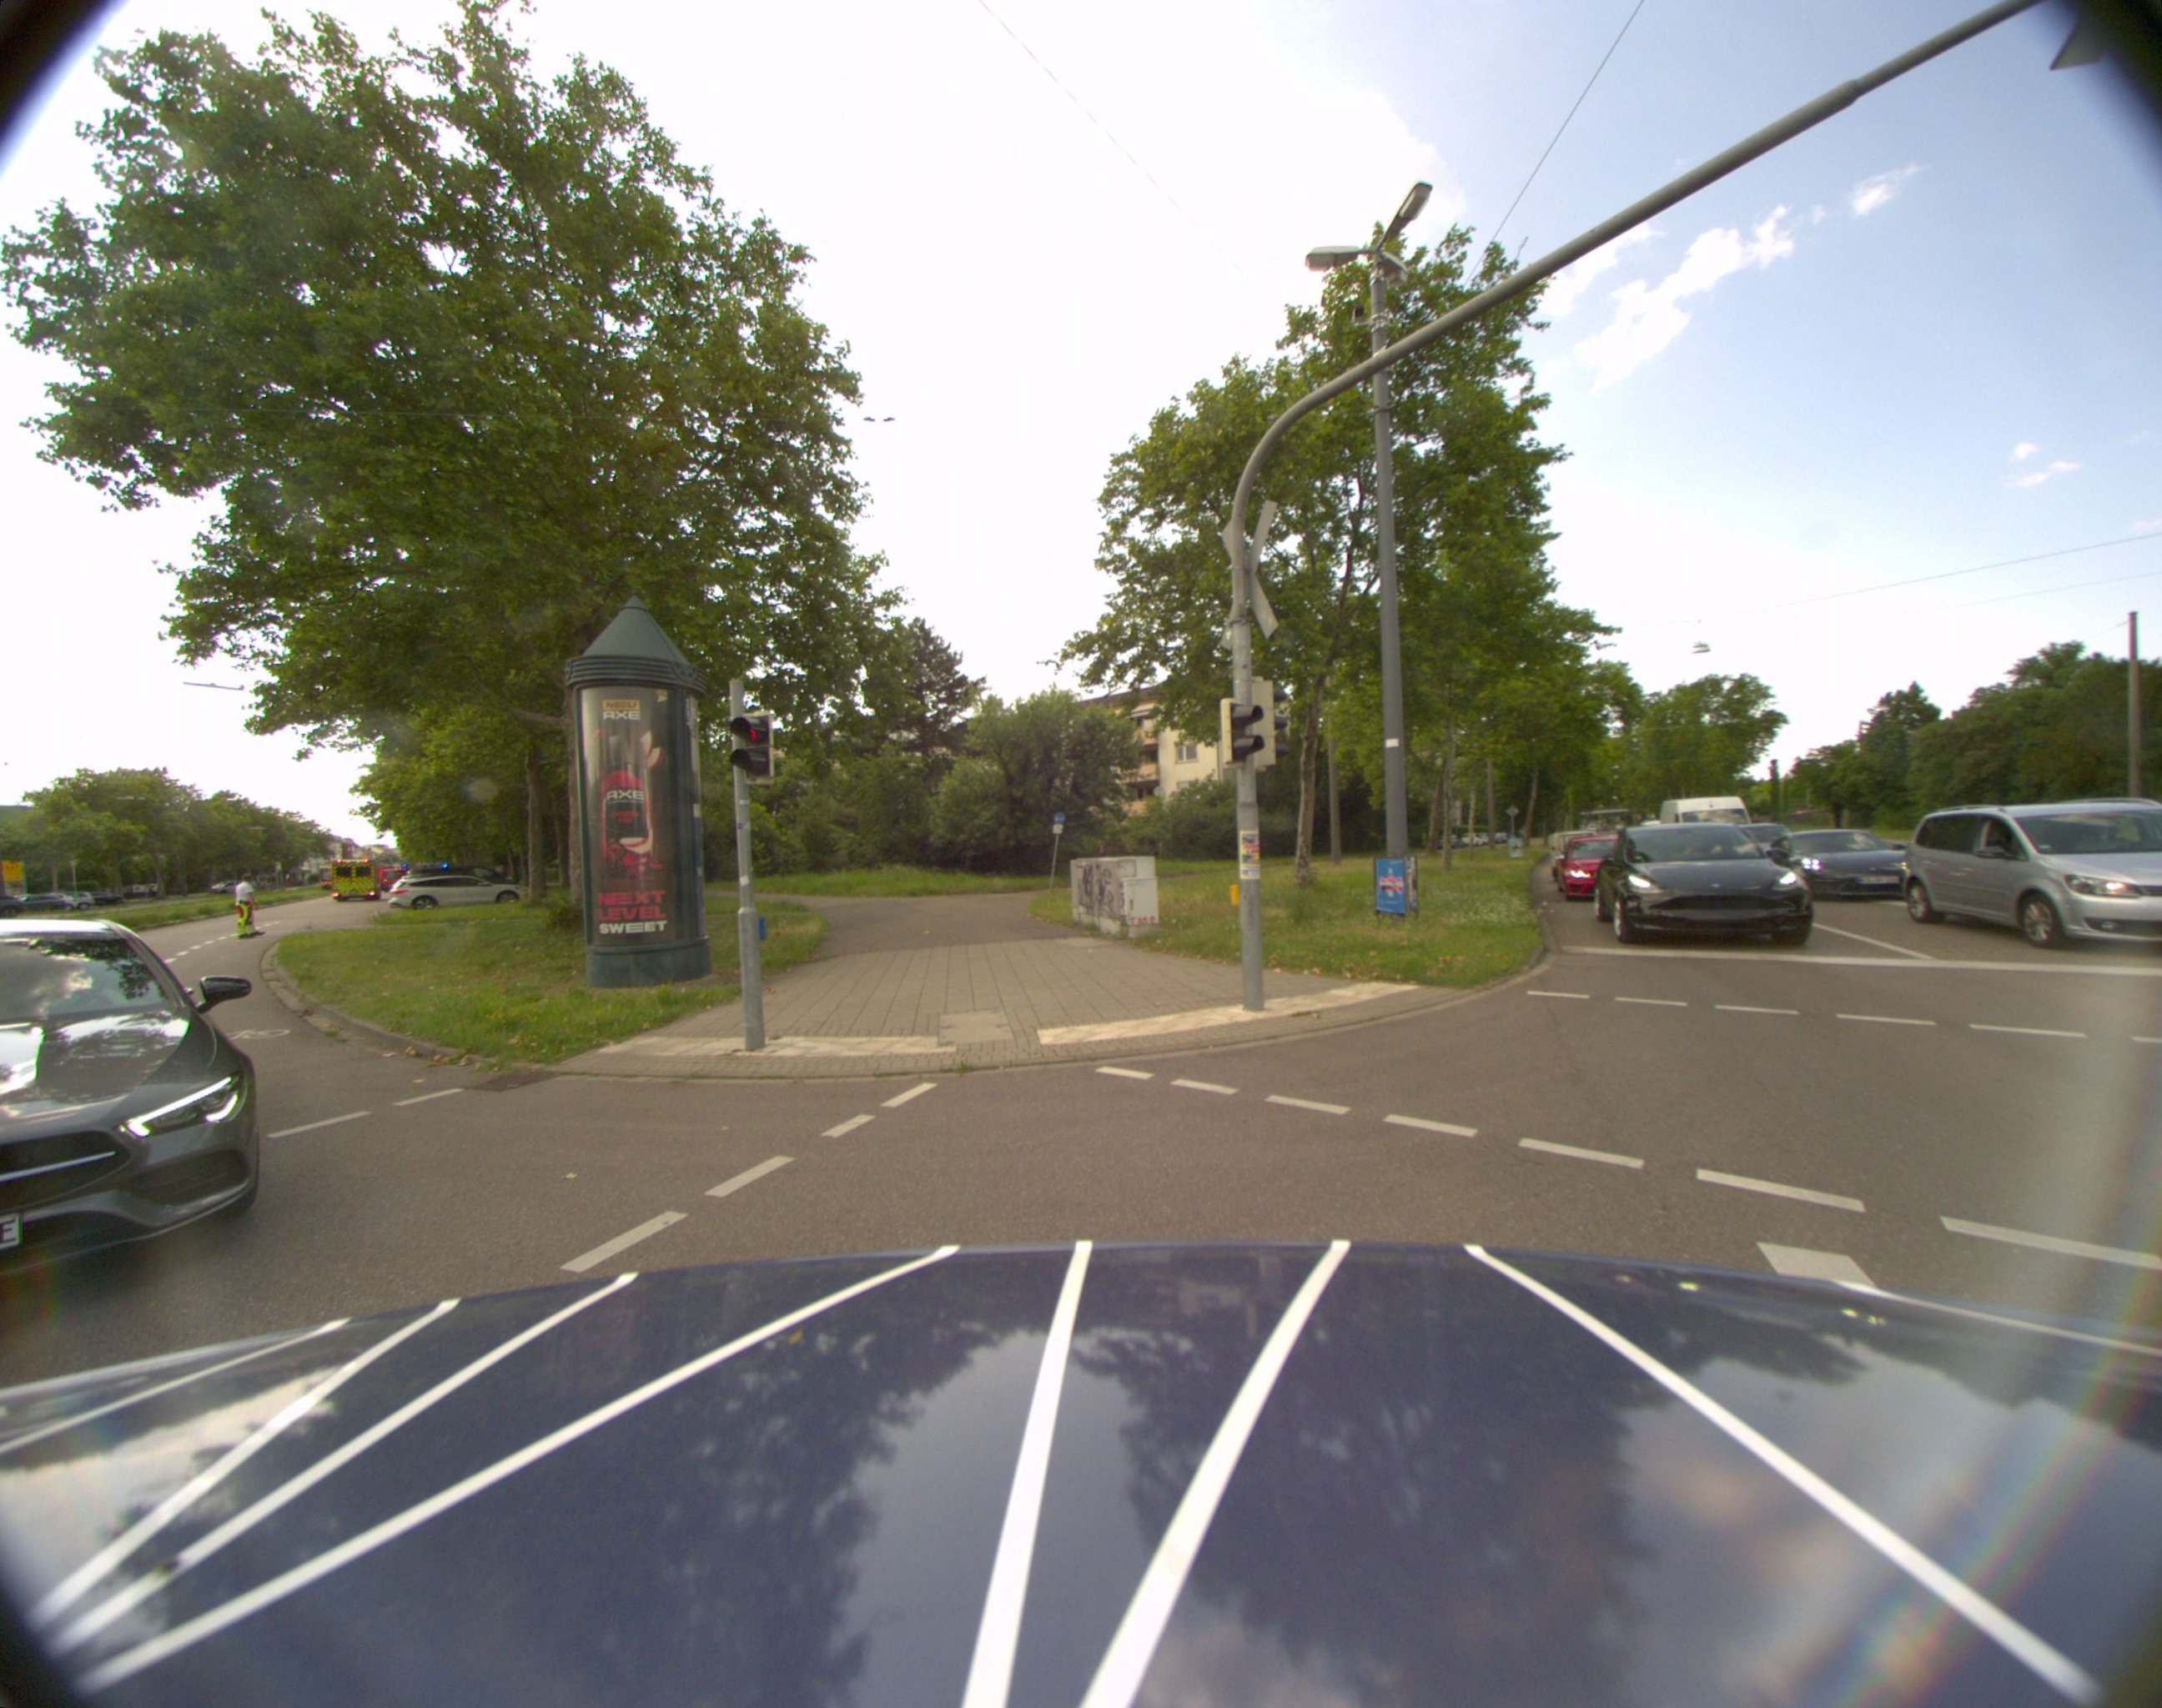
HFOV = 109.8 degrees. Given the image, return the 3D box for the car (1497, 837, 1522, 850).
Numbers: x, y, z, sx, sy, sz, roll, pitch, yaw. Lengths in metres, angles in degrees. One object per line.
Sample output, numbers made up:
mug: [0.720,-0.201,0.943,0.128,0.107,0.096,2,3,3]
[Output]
car: [53.838,-1.342,95.404,1.772,1.586,3.664,-2,-1,45]

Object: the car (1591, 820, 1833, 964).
car: [8.860,0.410,11.136,1.927,1.642,4.587,-4,0,30]

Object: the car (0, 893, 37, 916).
car: [-72.176,3.430,49.637,1.897,1.356,4.322,-2,1,26]

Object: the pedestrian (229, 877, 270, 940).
pedestrian: [-22.809,1.490,20.860,0.588,1.674,0.493,-3,1,-32]

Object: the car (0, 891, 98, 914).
car: [-81.180,3.795,59.794,1.897,1.356,4.322,-2,1,28]

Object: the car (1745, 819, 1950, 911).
car: [14.859,0.147,15.014,1.800,1.499,4.007,-4,0,30]

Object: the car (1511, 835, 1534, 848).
car: [58.973,-1.653,101.418,1.772,1.586,3.664,-2,-1,45]

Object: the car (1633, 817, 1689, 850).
car: [31.855,-1.148,41.851,1.760,1.637,4.350,-2,1,28]

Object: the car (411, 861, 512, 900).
car: [-37.275,1.575,45.826,4.565,2.002,1.995,-3,1,-39]

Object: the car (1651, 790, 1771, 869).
car: [23.231,-0.900,28.326,2.222,2.515,5.943,-4,0,29]

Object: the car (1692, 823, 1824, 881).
car: [18.812,-0.105,21.327,1.760,1.367,4.350,-4,0,29]

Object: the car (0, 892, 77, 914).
car: [-79.245,3.712,57.096,1.897,1.356,4.322,-2,1,28]

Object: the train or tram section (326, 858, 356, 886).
train or tram section: [-98.095,2.365,100.683,7.401,3.576,2.500,-1,2,45]

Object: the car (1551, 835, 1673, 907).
car: [12.400,0.326,18.016,1.798,1.383,4.509,-4,0,29]

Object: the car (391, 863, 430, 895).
car: [-72.541,2.718,82.237,2.981,3.297,7.439,-1,-1,-41]

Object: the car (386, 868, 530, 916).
car: [-26.310,1.565,32.197,4.551,1.634,1.995,-3,0,-42]

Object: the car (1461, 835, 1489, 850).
car: [43.585,-1.266,84.006,1.772,1.586,3.664,-2,-1,45]

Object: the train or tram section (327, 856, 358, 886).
train or tram section: [-92.845,2.167,95.500,7.401,3.576,2.500,-1,2,44]

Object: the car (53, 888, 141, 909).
car: [-84.631,3.812,65.407,1.897,1.356,4.322,-2,1,28]

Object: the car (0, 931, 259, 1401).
car: [-5.726,1.223,3.659,4.593,1.385,1.845,-2,0,36]

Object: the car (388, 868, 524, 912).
car: [-28.003,1.571,34.141,4.551,1.634,1.995,-3,0,-42]

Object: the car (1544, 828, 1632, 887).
car: [15.691,0.058,23.718,1.798,1.560,4.509,-4,0,29]

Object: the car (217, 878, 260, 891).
car: [-129.524,4.708,116.877,1.818,1.827,4.006,-2,-1,19]

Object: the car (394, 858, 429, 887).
car: [-80.808,2.218,91.769,2.981,3.310,7.439,-1,-1,-41]

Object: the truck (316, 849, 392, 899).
truck: [-52.985,1.431,55.593,3.199,3.298,7.503,-3,1,-39]

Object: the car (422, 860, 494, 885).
car: [-86.056,2.540,105.063,7.475,3.310,2.967,-1,-1,-45]

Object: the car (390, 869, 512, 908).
car: [-31.433,1.690,38.008,4.551,1.634,1.995,-3,0,-42]

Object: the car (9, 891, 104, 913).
car: [-83.004,3.866,61.635,1.897,1.356,4.322,-2,1,28]

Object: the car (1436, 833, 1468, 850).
car: [37.626,-1.227,77.003,1.772,1.586,3.664,-2,-1,45]

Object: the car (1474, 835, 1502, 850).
car: [46.621,-1.293,87.034,1.772,1.586,3.664,-2,-1,45]

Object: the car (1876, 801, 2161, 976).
car: [11.897,0.254,9.103,1.926,1.642,4.509,-4,0,29]
